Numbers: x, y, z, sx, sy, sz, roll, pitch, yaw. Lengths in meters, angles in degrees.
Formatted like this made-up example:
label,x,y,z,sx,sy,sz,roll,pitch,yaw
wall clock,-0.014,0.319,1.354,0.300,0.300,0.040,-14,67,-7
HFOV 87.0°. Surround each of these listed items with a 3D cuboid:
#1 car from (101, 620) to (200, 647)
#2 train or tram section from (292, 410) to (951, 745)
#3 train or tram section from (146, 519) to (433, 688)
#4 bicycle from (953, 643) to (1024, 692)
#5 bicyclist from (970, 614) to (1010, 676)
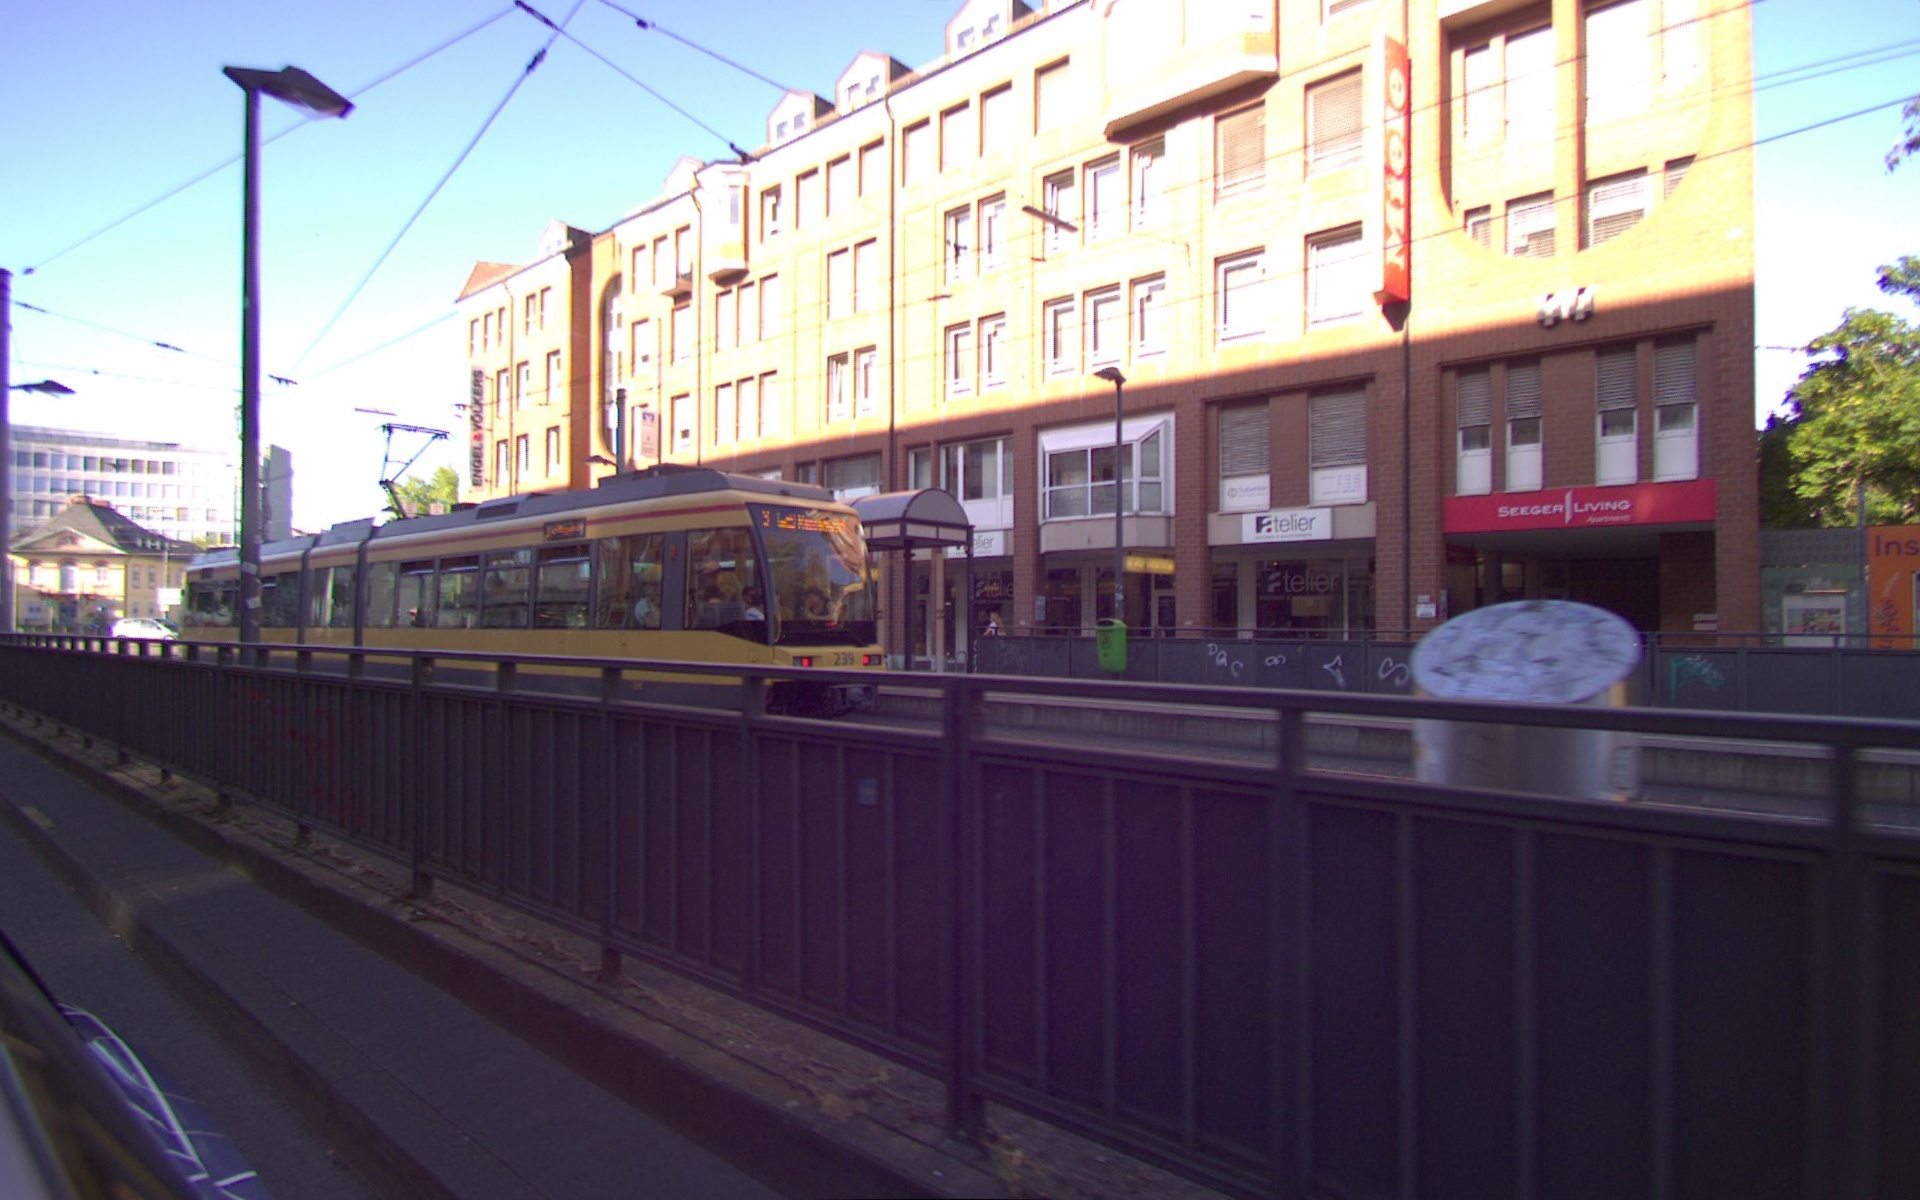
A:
label,x,y,z,sx,sy,sz,roll,pitch,yaw
car,-45.864,1.877,57.432,3.938,1.516,2.003,0,-1,-6
train or tram section,-7.318,-0.054,17.642,16.476,3.672,2.943,-2,0,41
train or tram section,-18.852,0.161,27.701,13.937,3.672,2.943,-1,0,41
bicycle,0.678,1.611,24.566,1.813,1.123,0.500,-1,-2,41
bicyclist,0.731,1.083,24.529,0.840,1.478,0.500,-1,-2,41
